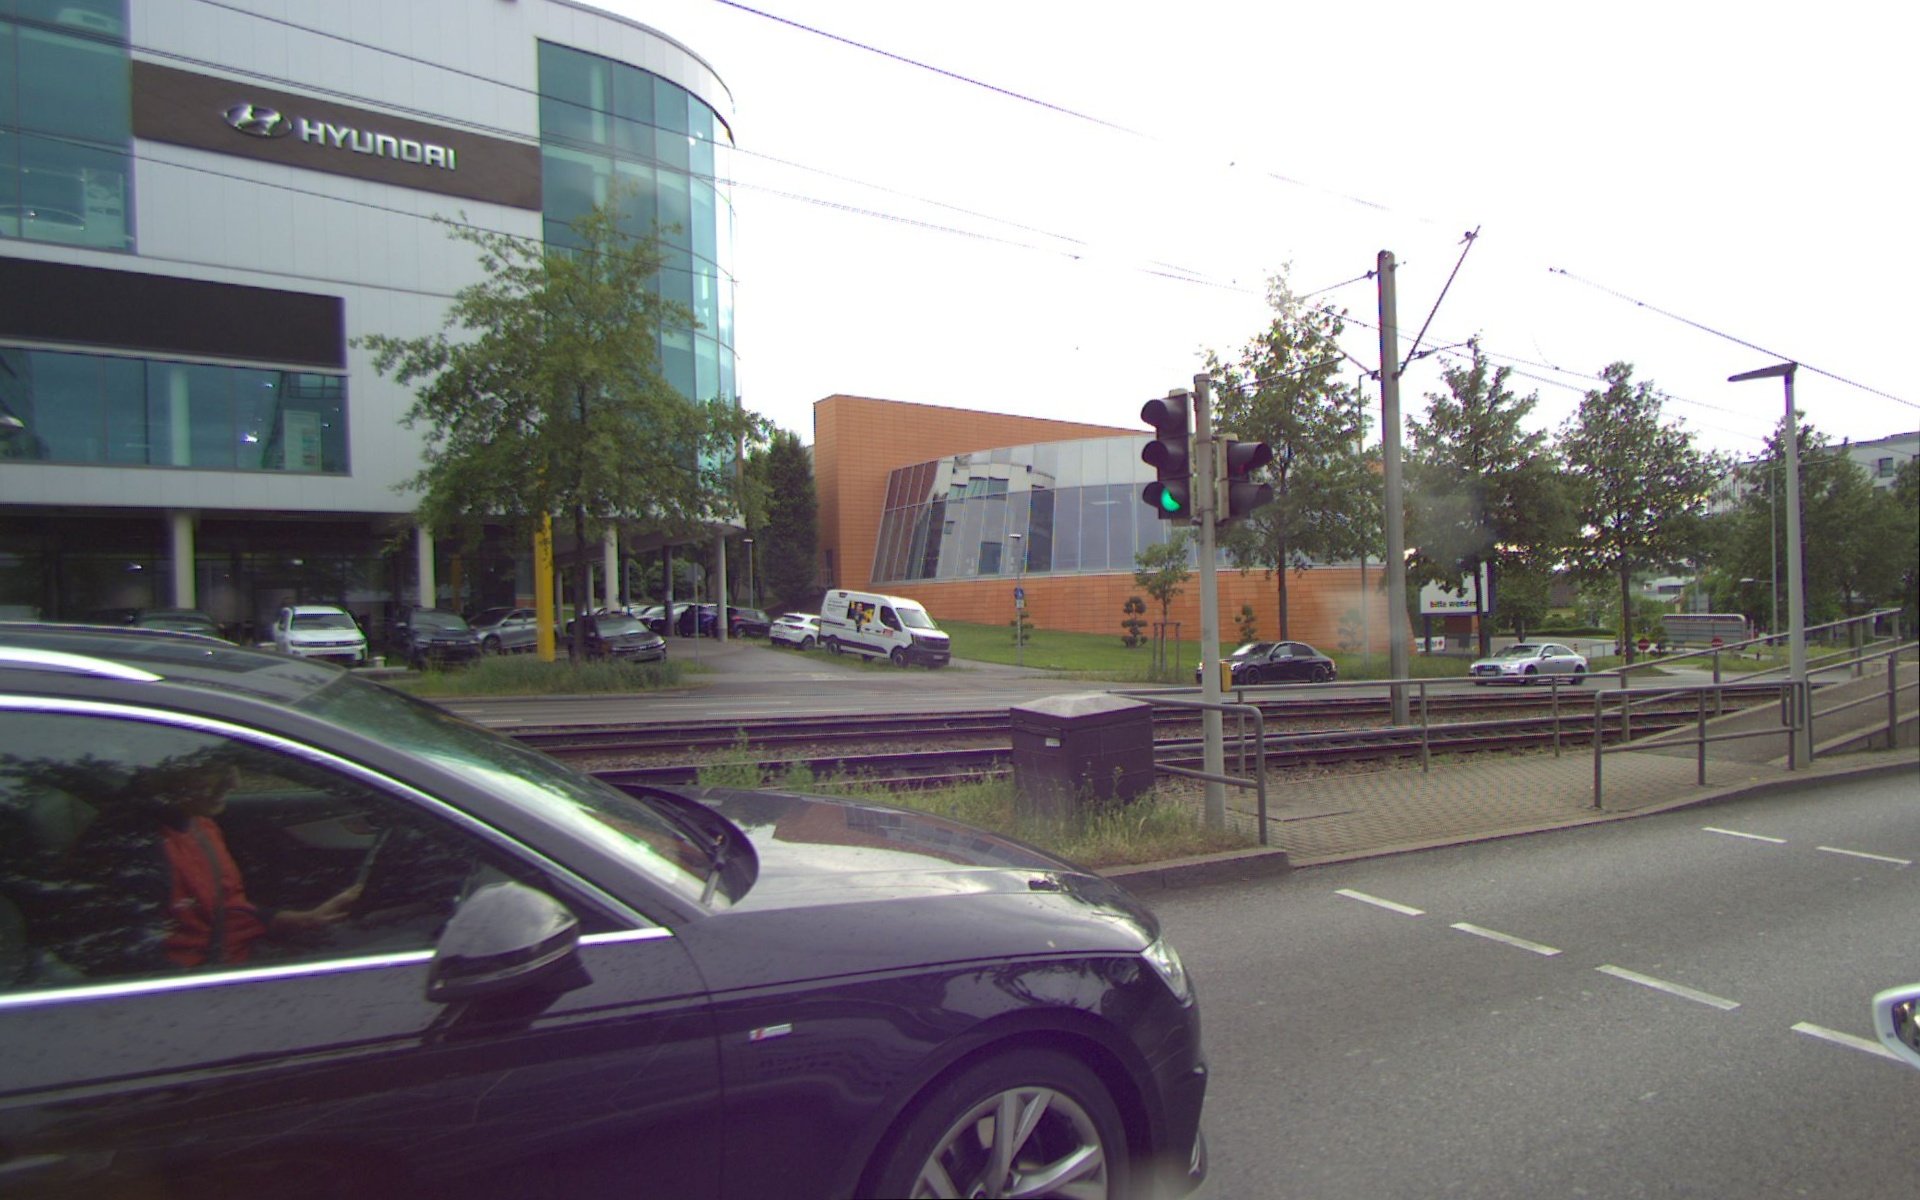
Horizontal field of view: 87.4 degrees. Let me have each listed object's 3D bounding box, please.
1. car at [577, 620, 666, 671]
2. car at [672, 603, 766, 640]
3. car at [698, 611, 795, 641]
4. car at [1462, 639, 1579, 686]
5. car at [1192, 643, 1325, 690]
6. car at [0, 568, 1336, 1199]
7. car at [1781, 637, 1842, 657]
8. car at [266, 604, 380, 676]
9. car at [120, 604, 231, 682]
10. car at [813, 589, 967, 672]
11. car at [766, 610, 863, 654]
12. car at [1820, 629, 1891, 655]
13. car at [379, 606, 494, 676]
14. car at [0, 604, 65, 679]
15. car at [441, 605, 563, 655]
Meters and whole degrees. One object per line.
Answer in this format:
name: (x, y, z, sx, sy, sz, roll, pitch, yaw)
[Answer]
car: (-10.276, 1.329, 30.362, 1.565, 1.409, 3.619, 1, -1, -36)
car: (-11.376, 1.022, 47.580, 1.969, 1.653, 3.982, 0, -1, 39)
car: (-9.729, 1.182, 46.013, 1.969, 1.297, 3.982, 0, -1, 39)
car: (18.142, 2.007, 32.485, 3.837, 1.455, 1.642, 2, -3, -32)
car: (9.052, 1.972, 30.387, 3.922, 1.253, 1.642, 1, -1, -30)
car: (-1.505, 0.711, 1.930, 4.461, 1.486, 1.772, 2, -1, -31)
car: (64.142, 3.540, 75.732, 1.408, 1.405, 3.372, 1, -1, -13)
car: (-17.028, 1.012, 26.752, 1.984, 1.571, 4.324, 2, 1, -40)
car: (-19.488, 1.010, 24.899, 1.984, 1.571, 4.324, 2, 1, -40)
car: (-2.638, 1.041, 36.603, 5.544, 2.616, 2.392, 3, 1, 43)
car: (-5.857, 1.283, 40.654, 1.703, 1.688, 3.734, 1, -1, 38)
car: (72.837, 3.389, 81.713, 1.978, 2.040, 3.965, 1, -1, -32)
car: (-14.850, 1.104, 28.365, 1.984, 1.637, 4.324, 2, 1, -40)
car: (-22.398, 0.929, 23.575, 1.917, 1.479, 3.974, 2, 1, -40)
car: (-15.354, 1.007, 33.845, 1.691, 1.572, 3.588, 0, -1, 20)
